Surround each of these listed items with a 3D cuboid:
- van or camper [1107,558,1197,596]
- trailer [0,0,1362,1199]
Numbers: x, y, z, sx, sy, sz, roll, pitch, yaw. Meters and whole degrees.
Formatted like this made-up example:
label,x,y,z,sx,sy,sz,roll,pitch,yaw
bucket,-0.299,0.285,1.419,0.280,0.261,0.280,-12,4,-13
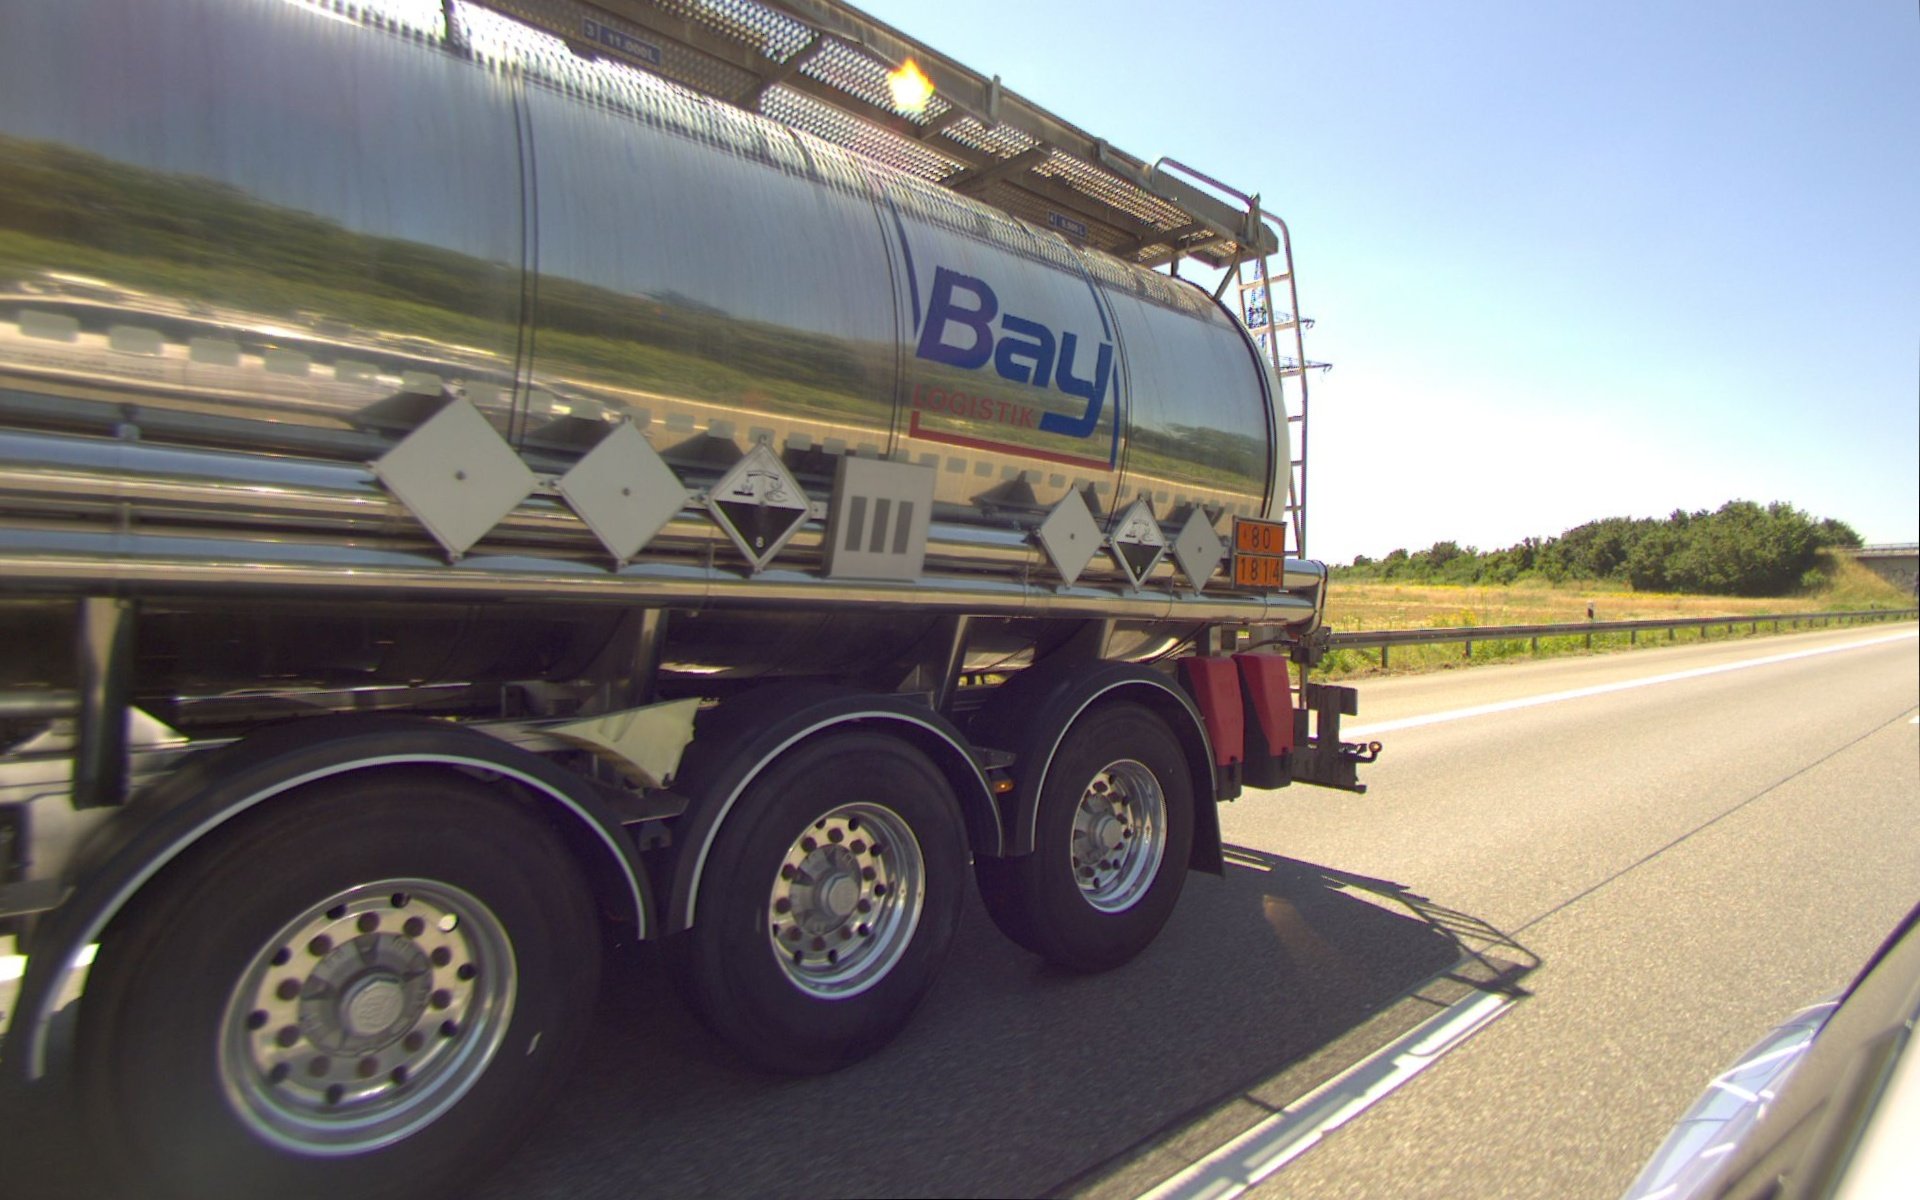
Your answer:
label,x,y,z,sx,sy,sz,roll,pitch,yaw
van or camper,16.593,-2.009,87.977,2.393,3.139,7.749,0,1,-42
trailer,-2.890,-0.650,2.512,10.910,4.126,2.584,0,0,-42
